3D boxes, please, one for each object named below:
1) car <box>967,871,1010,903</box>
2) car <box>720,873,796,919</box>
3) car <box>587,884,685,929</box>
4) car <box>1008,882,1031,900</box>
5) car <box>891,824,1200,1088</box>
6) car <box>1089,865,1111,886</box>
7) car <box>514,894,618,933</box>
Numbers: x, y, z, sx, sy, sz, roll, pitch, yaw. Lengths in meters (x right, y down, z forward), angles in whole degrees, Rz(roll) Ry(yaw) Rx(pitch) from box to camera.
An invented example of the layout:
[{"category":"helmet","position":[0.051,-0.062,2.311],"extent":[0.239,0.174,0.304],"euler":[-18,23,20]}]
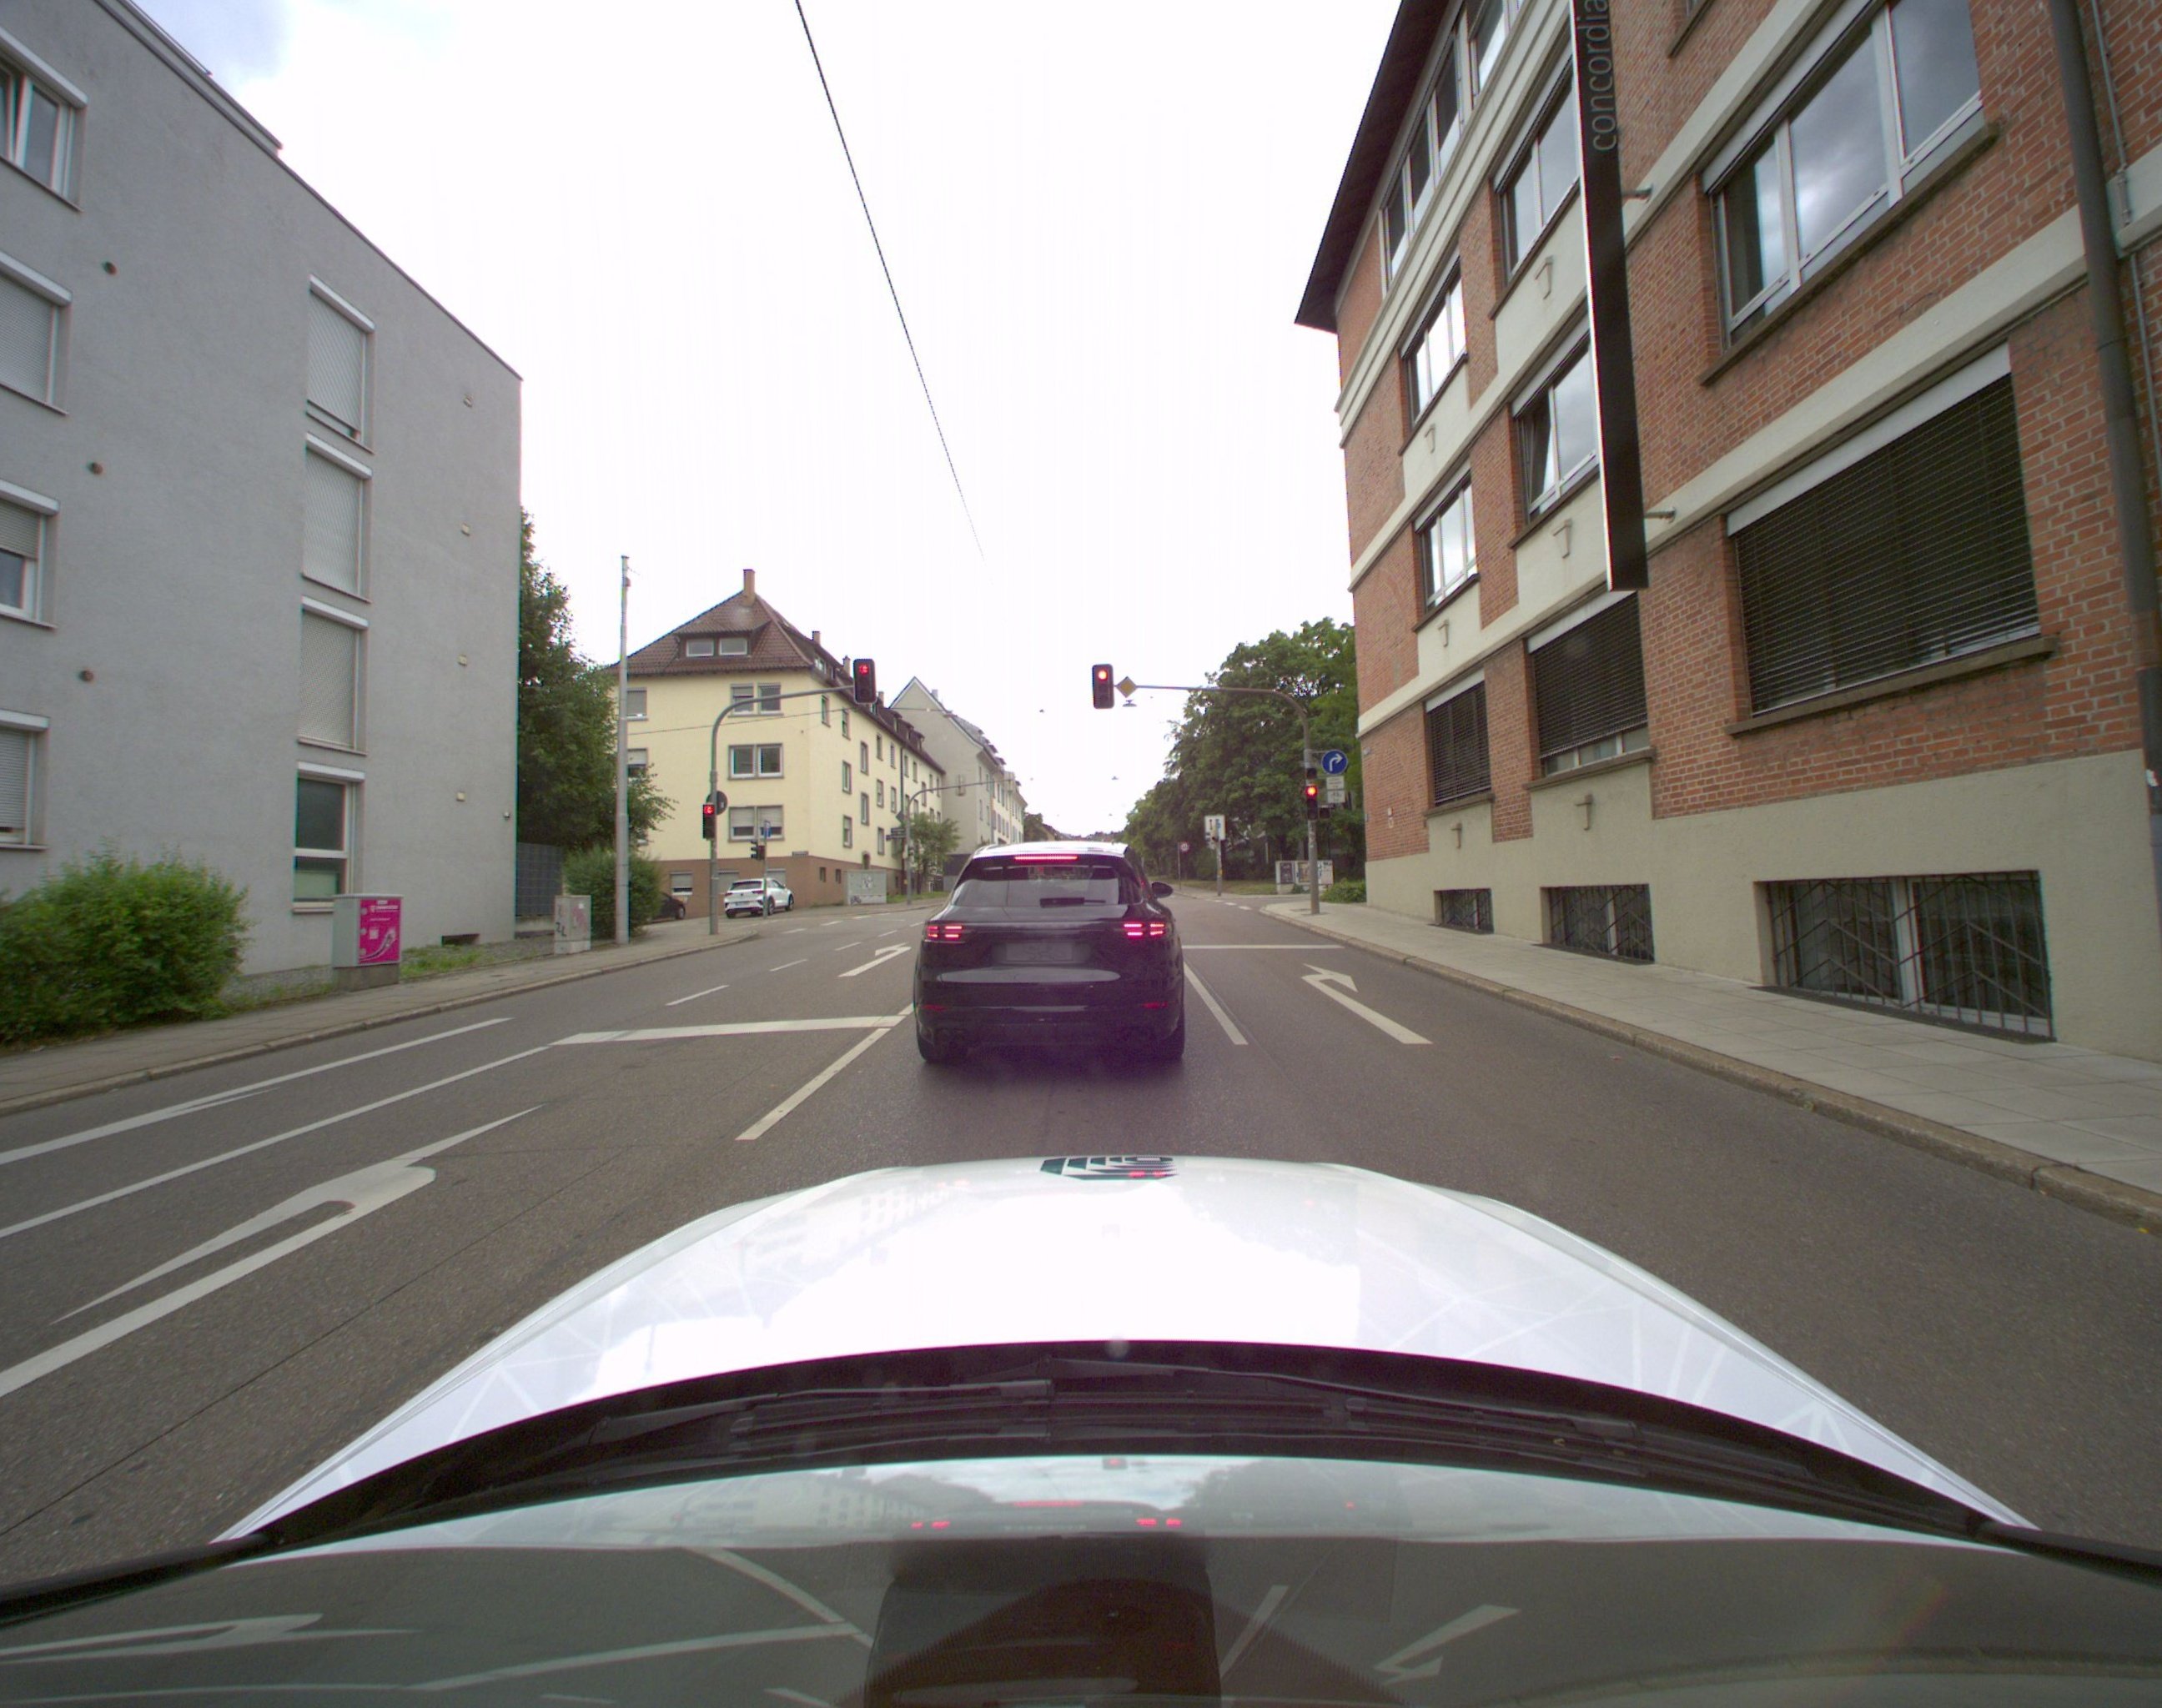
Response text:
[{"category":"car","position":[-5.149,1.821,45.772],"extent":[1.657,1.519,3.742],"euler":[-5,-1,2]},{"category":"car","position":[-13.543,1.725,34.401],"extent":[1.666,1.662,3.996],"euler":[-4,0,-3]},{"category":"car","position":[-18.612,2.161,34.301],"extent":[1.664,1.546,4.103],"euler":[-5,-1,2]},{"category":"car","position":[-5.265,3.163,69.853],"extent":[1.665,1.362,3.998],"euler":[-1,-1,-1]},{"category":"car","position":[-0.169,0.675,7.260],"extent":[1.986,1.697,4.001],"euler":[0,-1,2]},{"category":"car","position":[1.479,1.681,64.113],"extent":[1.682,1.552,3.889],"euler":[0,-1,0]},{"category":"car","position":[-21.383,2.438,34.023],"extent":[1.663,1.362,4.001],"euler":[-1,-1,2]}]
